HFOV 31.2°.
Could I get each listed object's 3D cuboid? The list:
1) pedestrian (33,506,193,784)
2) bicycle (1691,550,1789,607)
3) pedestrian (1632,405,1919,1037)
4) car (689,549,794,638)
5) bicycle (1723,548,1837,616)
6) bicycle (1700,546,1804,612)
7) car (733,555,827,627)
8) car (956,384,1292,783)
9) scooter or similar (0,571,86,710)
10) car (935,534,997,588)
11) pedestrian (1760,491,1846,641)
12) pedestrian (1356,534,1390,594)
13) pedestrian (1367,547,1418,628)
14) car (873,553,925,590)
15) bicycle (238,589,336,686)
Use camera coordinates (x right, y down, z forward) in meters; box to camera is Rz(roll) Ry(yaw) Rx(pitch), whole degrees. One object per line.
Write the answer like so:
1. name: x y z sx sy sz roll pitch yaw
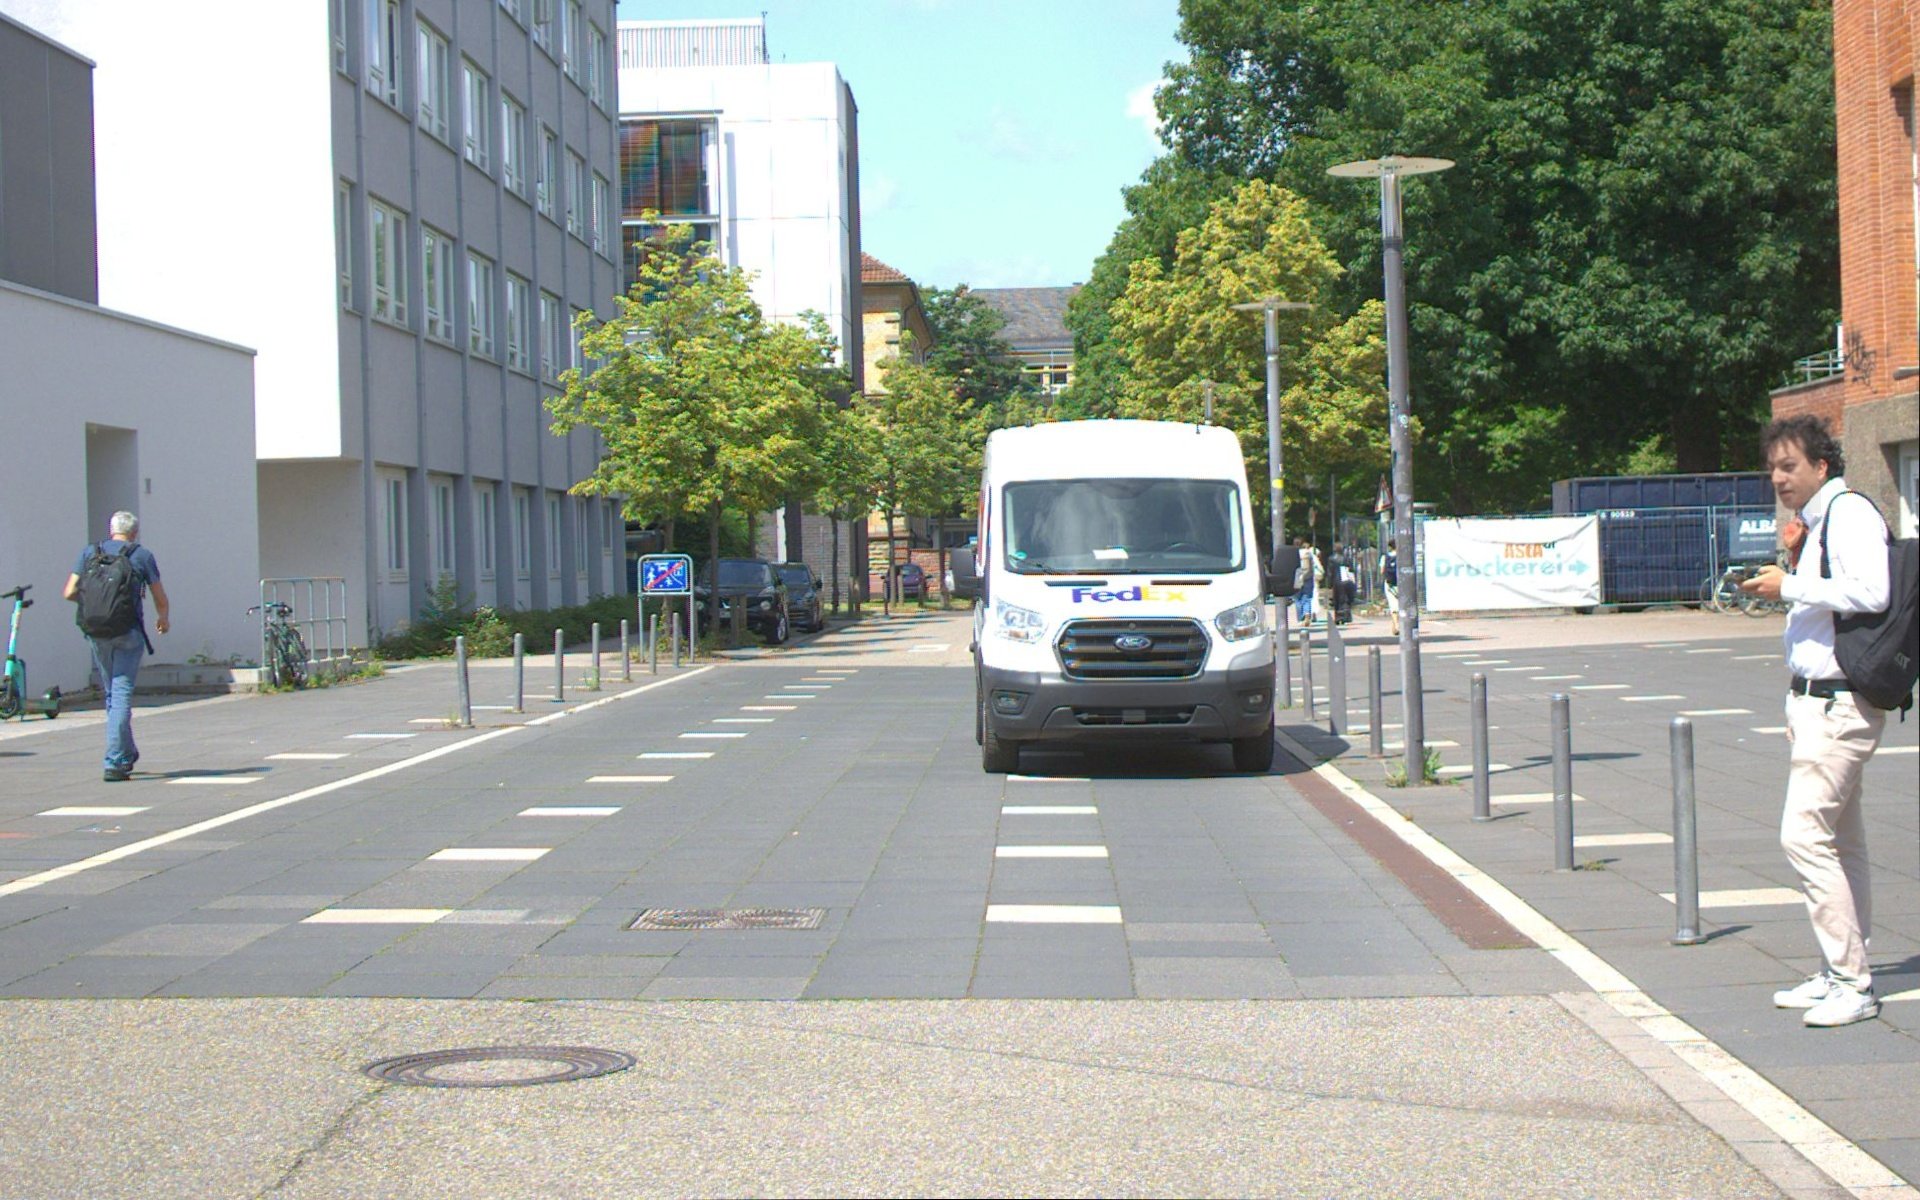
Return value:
1. pedestrian: -5.695 0.286 23.182 0.823 1.811 1.144 -1 1 -4
2. bicycle: 14.272 -0.402 62.924 1.671 1.000 0.448 -1 1 2
3. pedestrian: 2.765 0.349 10.583 1.024 1.842 0.914 -3 1 32
4. car: -4.035 -0.144 64.014 1.697 1.558 4.068 -1 1 0
5. bicycle: 13.955 -0.310 58.520 1.806 1.105 0.448 -1 1 2
6. bicycle: 13.919 -0.372 60.429 1.701 1.105 0.448 -1 1 2
7. car: -3.750 -0.206 72.129 1.778 1.456 4.259 0 1 0
8. car: 1.058 -0.146 25.205 2.059 2.534 5.850 -1 1 -1
9. scooter or similar: -8.717 0.372 32.134 0.483 1.259 1.312 -1 1 14
10. car: 0.202 -1.427 127.745 2.175 1.919 5.186 -1 0 -1
11. pedestrian: 10.422 -0.419 42.524 0.663 1.828 0.906 -1 1 -14
12. pedestrian: 11.842 -1.024 98.553 0.743 1.704 0.564 -1 0 -34
13. pedestrian: 7.199 -0.210 57.222 0.696 1.326 0.716 -1 1 -2
14. car: -2.251 -1.051 127.795 1.817 1.319 3.768 -1 0 0
15. bicycle: -7.698 0.419 39.383 0.543 1.058 1.899 -1 1 6
